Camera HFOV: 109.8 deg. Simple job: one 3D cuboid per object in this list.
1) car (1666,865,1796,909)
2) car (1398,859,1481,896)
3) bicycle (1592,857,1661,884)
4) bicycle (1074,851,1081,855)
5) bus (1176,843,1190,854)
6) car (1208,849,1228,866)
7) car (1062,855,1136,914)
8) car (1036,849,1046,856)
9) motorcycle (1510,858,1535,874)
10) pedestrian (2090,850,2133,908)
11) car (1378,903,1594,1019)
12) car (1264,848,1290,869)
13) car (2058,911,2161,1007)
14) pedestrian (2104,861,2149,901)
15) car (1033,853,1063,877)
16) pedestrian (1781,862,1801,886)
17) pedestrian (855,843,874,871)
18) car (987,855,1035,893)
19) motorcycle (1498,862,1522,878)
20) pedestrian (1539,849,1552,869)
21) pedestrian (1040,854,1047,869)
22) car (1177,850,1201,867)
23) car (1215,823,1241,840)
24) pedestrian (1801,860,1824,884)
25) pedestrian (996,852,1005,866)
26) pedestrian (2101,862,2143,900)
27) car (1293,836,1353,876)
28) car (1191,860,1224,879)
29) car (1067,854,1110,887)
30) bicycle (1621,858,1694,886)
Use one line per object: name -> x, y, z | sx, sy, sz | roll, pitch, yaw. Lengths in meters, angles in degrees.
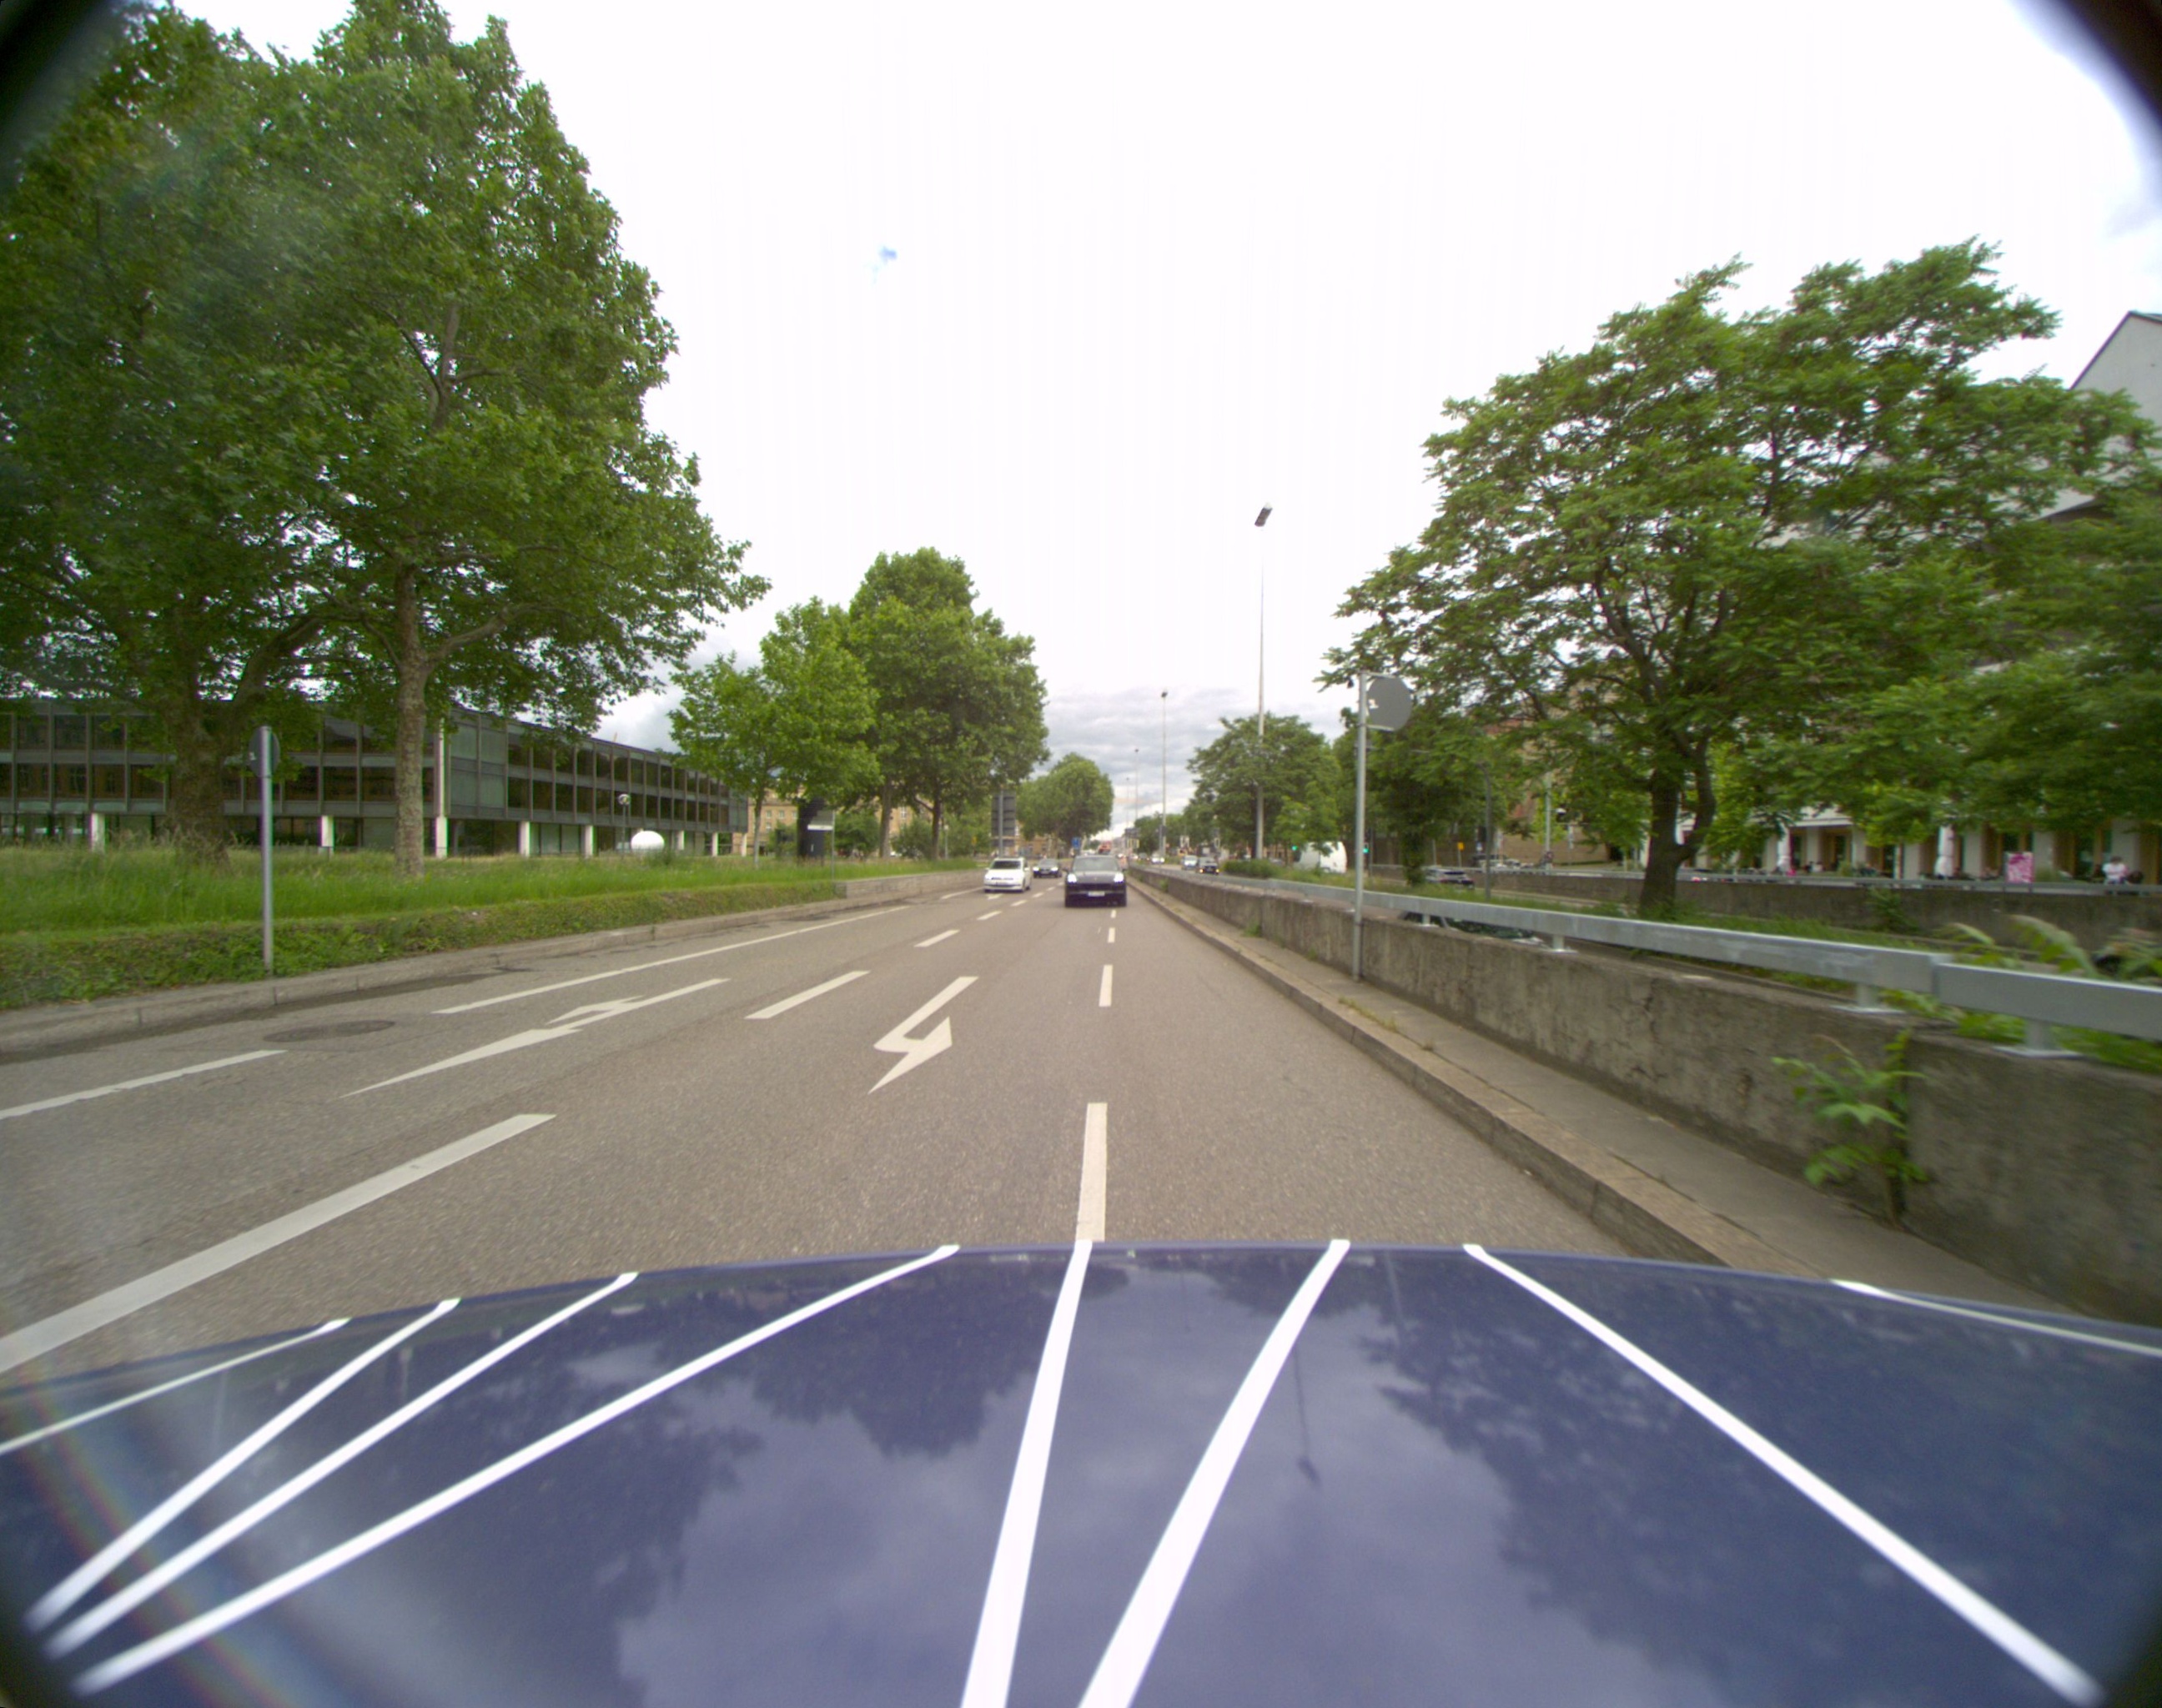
car -> 28.353, 1.384, 33.341 | 1.862, 1.707, 4.391 | 1, 1, -1
car -> 16.899, 1.076, 36.083 | 1.906, 1.478, 3.998 | -2, 1, -3
bicycle -> 35.445, 1.060, 49.400 | 3.622, 1.674, 1.183 | 1, 1, 0
bicycle -> -0.903, -0.256, 195.370 | 1.918, 1.092, 0.541 | 0, 1, -7
bus -> 31.261, -1.568, 234.139 | 2.919, 3.286, 10.448 | 0, 1, 0
car -> 18.709, 0.447, 104.243 | 1.862, 1.709, 4.440 | 0, 7, -1
car -> 0.473, 0.878, 24.397 | 2.062, 1.616, 4.600 | -2, 1, -2
car -> -8.634, -0.265, 163.942 | 1.768, 1.508, 4.219 | 0, -1, 3
motorcycle -> 35.000, 0.915, 60.226 | 1.892, 1.227, 0.657 | 0, 3, -23
pedestrian -> 36.010, 0.868, 26.569 | 0.634, 2.002, 0.630 | -2, 2, 2
car -> 7.406, 1.866, 14.428 | 1.767, 1.507, 4.150 | -1, 1, -2
car -> 20.621, 0.416, 79.998 | 1.997, 2.002, 4.001 | -2, 1, 6
car -> 20.461, 1.970, 12.863 | 1.884, 1.529, 4.578 | -2, 1, -3
pedestrian -> 40.838, 1.074, 29.689 | 0.636, 1.513, 0.909 | 2, -4, -41
car -> -2.469, 0.787, 56.828 | 2.062, 1.616, 4.600 | -2, 0, -2
pedestrian -> 42.126, 1.201, 45.077 | 0.649, 1.319, 0.636 | 6, 0, 29
pedestrian -> -14.500, 0.167, 50.805 | 1.031, 1.826, 0.998 | -3, 2, -22
car -> -3.274, 0.898, 36.186 | 1.695, 1.585, 4.000 | 0, 1, 3
motorcycle -> 34.860, 1.273, 61.720 | 1.892, 1.227, 0.657 | 0, 3, -23
pedestrian -> 36.151, 0.353, 59.186 | 0.884, 1.548, 0.596 | 0, 1, -41
pedestrian -> -4.170, 0.811, 84.000 | 0.699, 1.646, 0.684 | -2, 2, 1
car -> 11.276, 0.454, 79.711 | 1.998, 1.636, 4.000 | -1, 0, 1
car -> 15.508, -2.365, 80.514 | 1.862, 1.707, 4.445 | 1, 1, 0
pedestrian -> 42.369, 1.029, 44.024 | 0.788, 1.319, 0.671 | 0, 1, 28
pedestrian -> -9.044, 0.537, 85.266 | 0.803, 1.617, 0.626 | 1, 1, 9
pedestrian -> 41.409, 1.078, 30.229 | 0.636, 1.514, 0.909 | 1, -2, -41
car -> 17.008, 0.051, 53.689 | 2.330, 2.511, 6.055 | -2, 2, 0
car -> 10.628, 1.267, 64.164 | 1.998, 1.474, 4.809 | 0, 0, 0
car -> 0.352, 0.848, 40.957 | 2.062, 1.616, 4.600 | -2, 0, -2
bicycle -> 35.711, 1.123, 47.121 | 3.622, 1.674, 1.183 | 1, 1, 0
